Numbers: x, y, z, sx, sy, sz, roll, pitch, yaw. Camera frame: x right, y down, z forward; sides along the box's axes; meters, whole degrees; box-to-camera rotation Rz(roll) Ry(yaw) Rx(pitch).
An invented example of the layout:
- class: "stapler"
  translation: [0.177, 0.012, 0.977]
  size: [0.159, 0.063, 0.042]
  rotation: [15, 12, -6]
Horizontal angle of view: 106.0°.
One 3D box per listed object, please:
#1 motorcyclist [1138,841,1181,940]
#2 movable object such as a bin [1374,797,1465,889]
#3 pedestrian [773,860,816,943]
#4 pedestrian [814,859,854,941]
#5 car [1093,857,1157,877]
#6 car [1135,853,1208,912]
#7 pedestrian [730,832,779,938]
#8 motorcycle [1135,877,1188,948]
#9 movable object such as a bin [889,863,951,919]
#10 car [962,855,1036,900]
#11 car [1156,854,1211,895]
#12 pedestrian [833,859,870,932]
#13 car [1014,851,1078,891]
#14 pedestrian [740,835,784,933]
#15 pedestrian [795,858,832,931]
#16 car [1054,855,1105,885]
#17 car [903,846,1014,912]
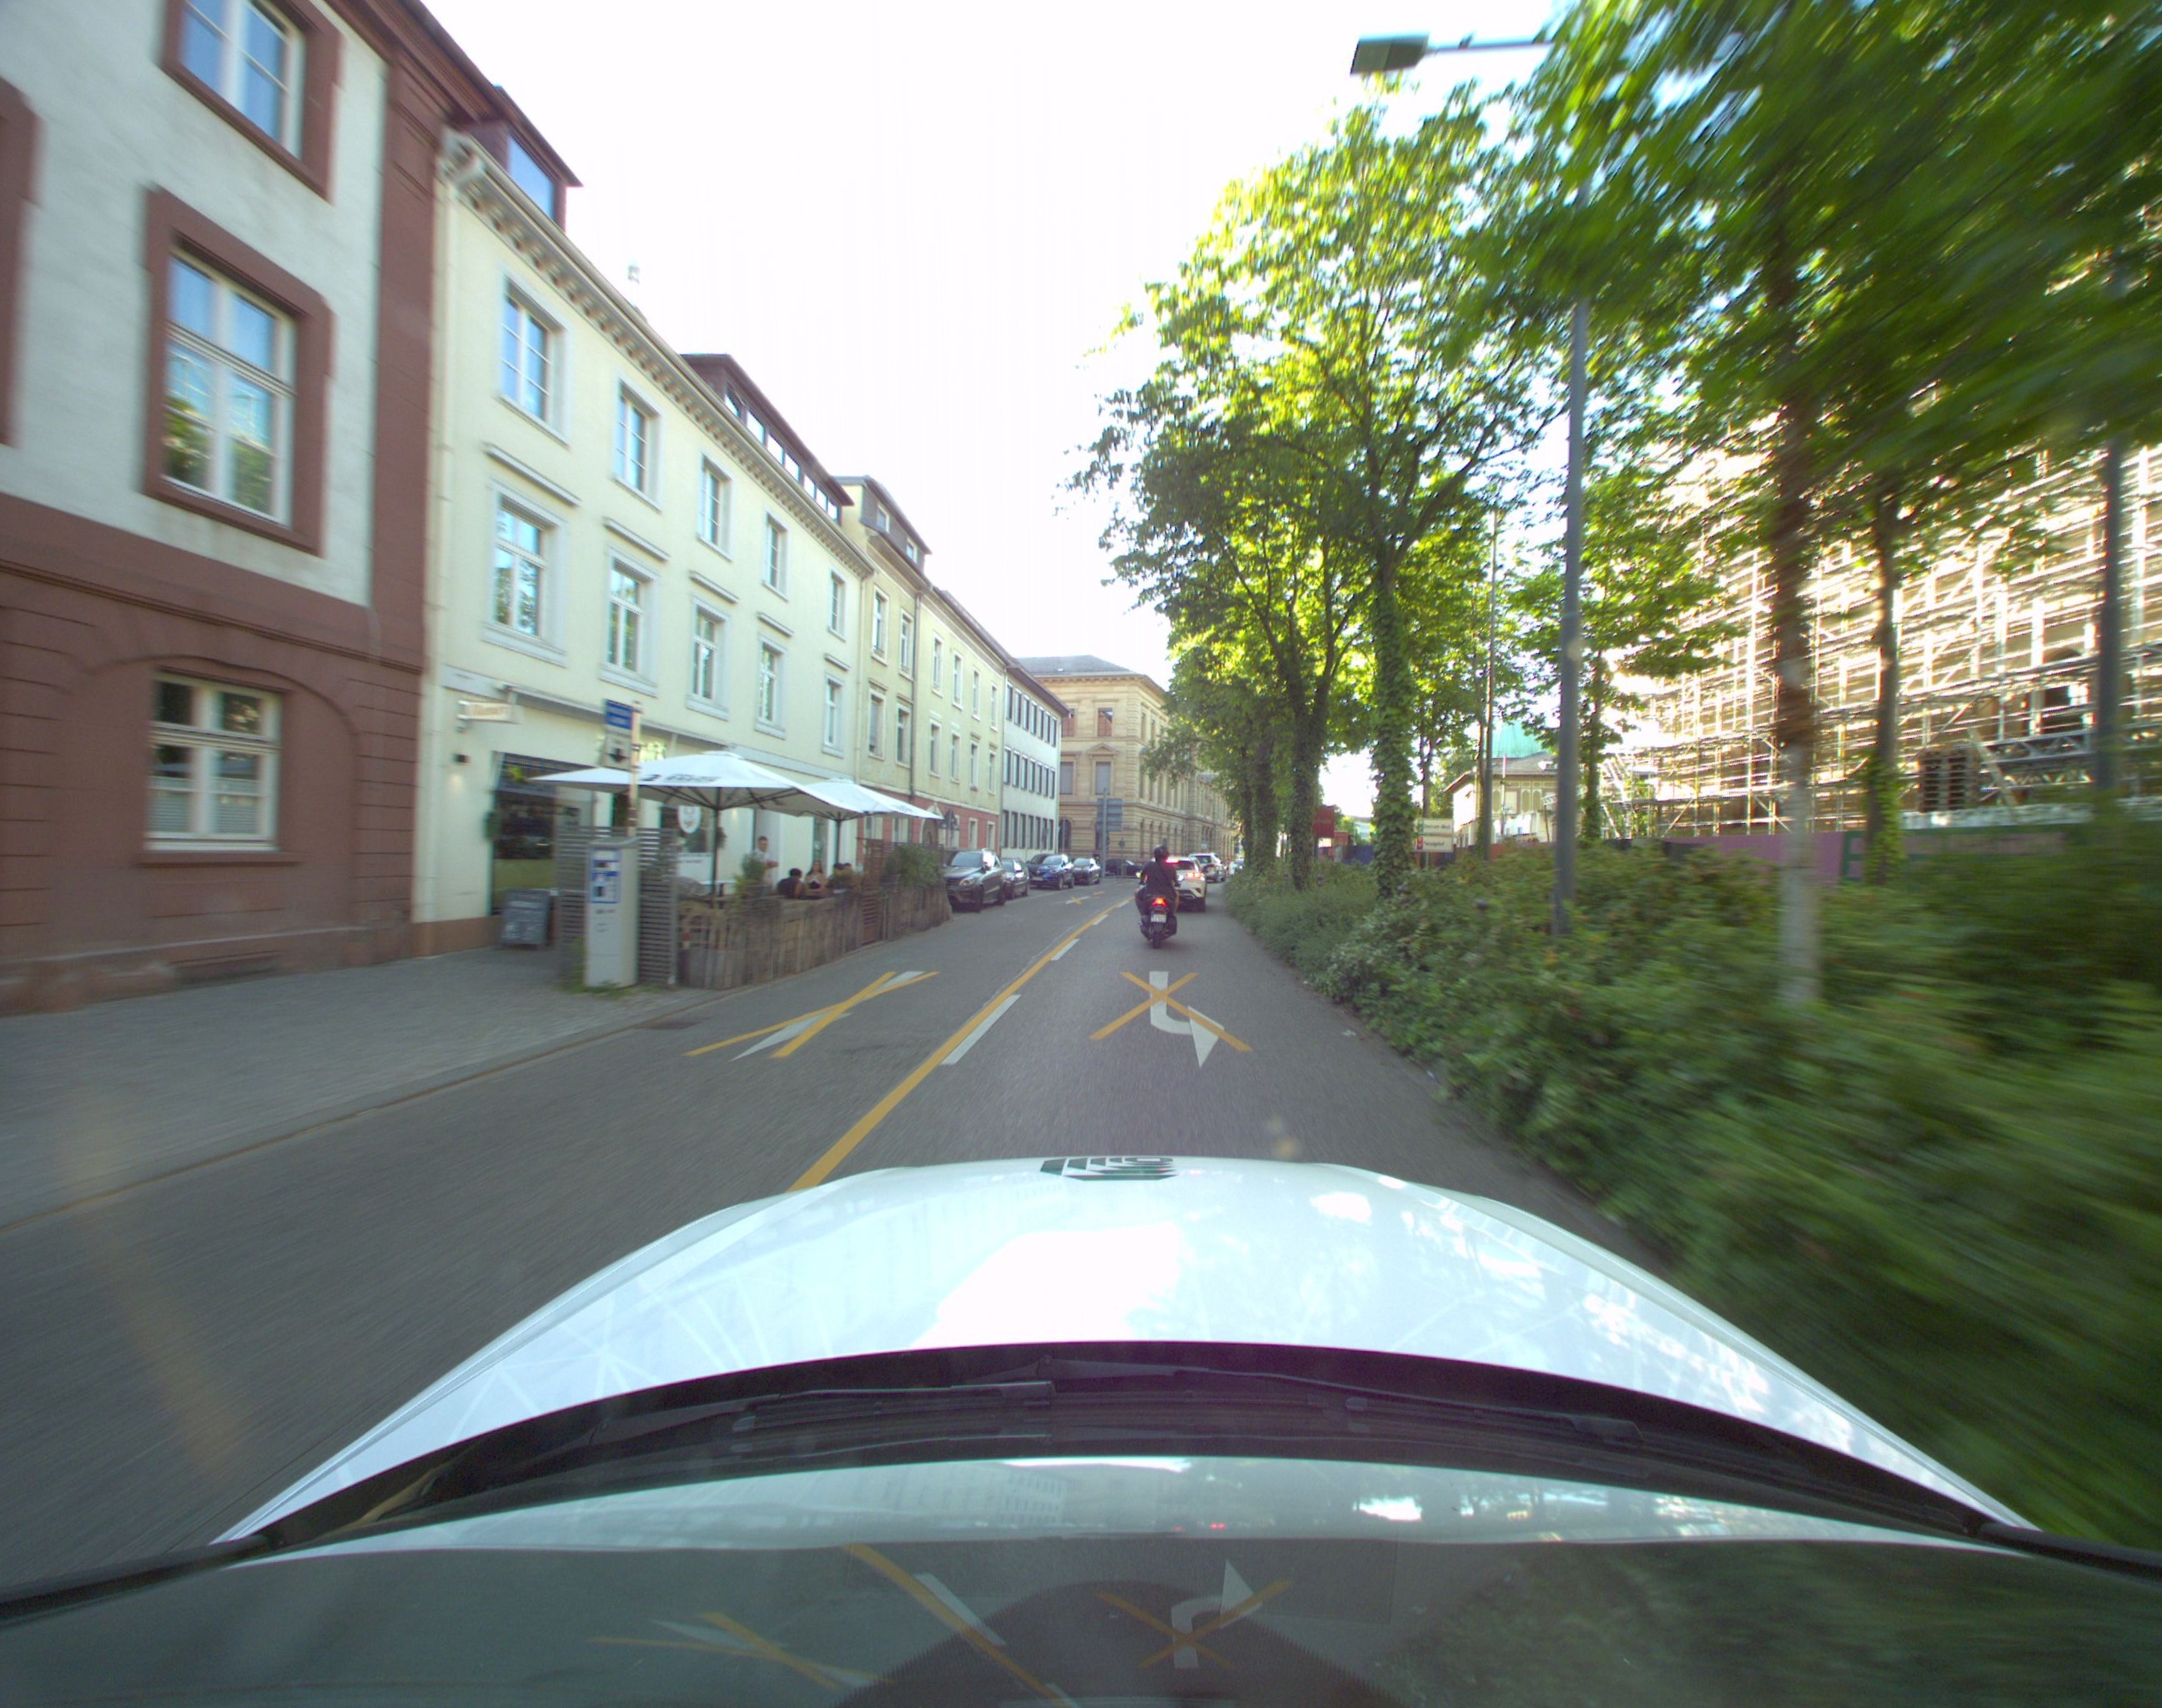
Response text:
- class: "motorcyclist"
  translation: [1.360, 0.618, 14.133]
  size: [0.654, 1.650, 0.651]
  rotation: [2, 0, 4]
- class: "movable object such as a bin"
  translation: [18.191, -0.546, 44.305]
  size: [3.284, 4.539, 7.933]
  rotation: [1, 0, 13]
- class: "pedestrian"
  translation: [-4.933, 0.801, 14.032]
  size: [0.521, 1.391, 0.488]
  rotation: [1, 0, 2]
- class: "pedestrian"
  translation: [-4.440, 0.811, 14.681]
  size: [0.468, 1.433, 0.503]
  rotation: [2, 0, 10]
- class: "car"
  translation: [3.224, 0.918, 59.080]
  size: [4.277, 1.390, 1.785]
  rotation: [0, 0, 20]
- class: "car"
  translation: [2.653, 0.748, 23.249]
  size: [1.840, 1.480, 4.067]
  rotation: [1, 0, 8]
- class: "pedestrian"
  translation: [-5.625, 0.528, 14.025]
  size: [0.591, 1.775, 0.441]
  rotation: [1, 0, 13]
- class: "motorcycle"
  translation: [1.352, 0.968, 14.016]
  size: [0.793, 1.066, 1.727]
  rotation: [2, 0, 3]
- class: "movable object such as a bin"
  translation: [-3.926, 0.886, 19.982]
  size: [1.208, 1.295, 0.933]
  rotation: [1, 0, 10]
- class: "car"
  translation: [-2.833, 0.777, 29.226]
  size: [1.644, 1.480, 4.437]
  rotation: [1, 0, 7]
- class: "car"
  translation: [4.108, 0.764, 32.175]
  size: [1.828, 1.463, 4.070]
  rotation: [2, 0, 11]
- class: "pedestrian"
  translation: [-4.495, 0.797, 15.958]
  size: [0.521, 1.391, 0.488]
  rotation: [1, 0, 2]
- class: "car"
  translation: [-1.515, 0.743, 37.395]
  size: [1.921, 1.667, 4.360]
  rotation: [1, 0, 11]
- class: "pedestrian"
  translation: [-5.965, 0.553, 15.225]
  size: [0.434, 1.775, 0.600]
  rotation: [1, 0, 18]
- class: "pedestrian"
  translation: [-5.228, 0.781, 15.942]
  size: [0.521, 1.391, 0.488]
  rotation: [1, 0, 2]
- class: "car"
  translation: [-0.008, 0.841, 44.612]
  size: [1.812, 1.503, 4.774]
  rotation: [2, 0, 11]
- class: "car"
  translation: [-3.384, 0.646, 23.548]
  size: [1.911, 1.679, 4.795]
  rotation: [1, 0, 7]
